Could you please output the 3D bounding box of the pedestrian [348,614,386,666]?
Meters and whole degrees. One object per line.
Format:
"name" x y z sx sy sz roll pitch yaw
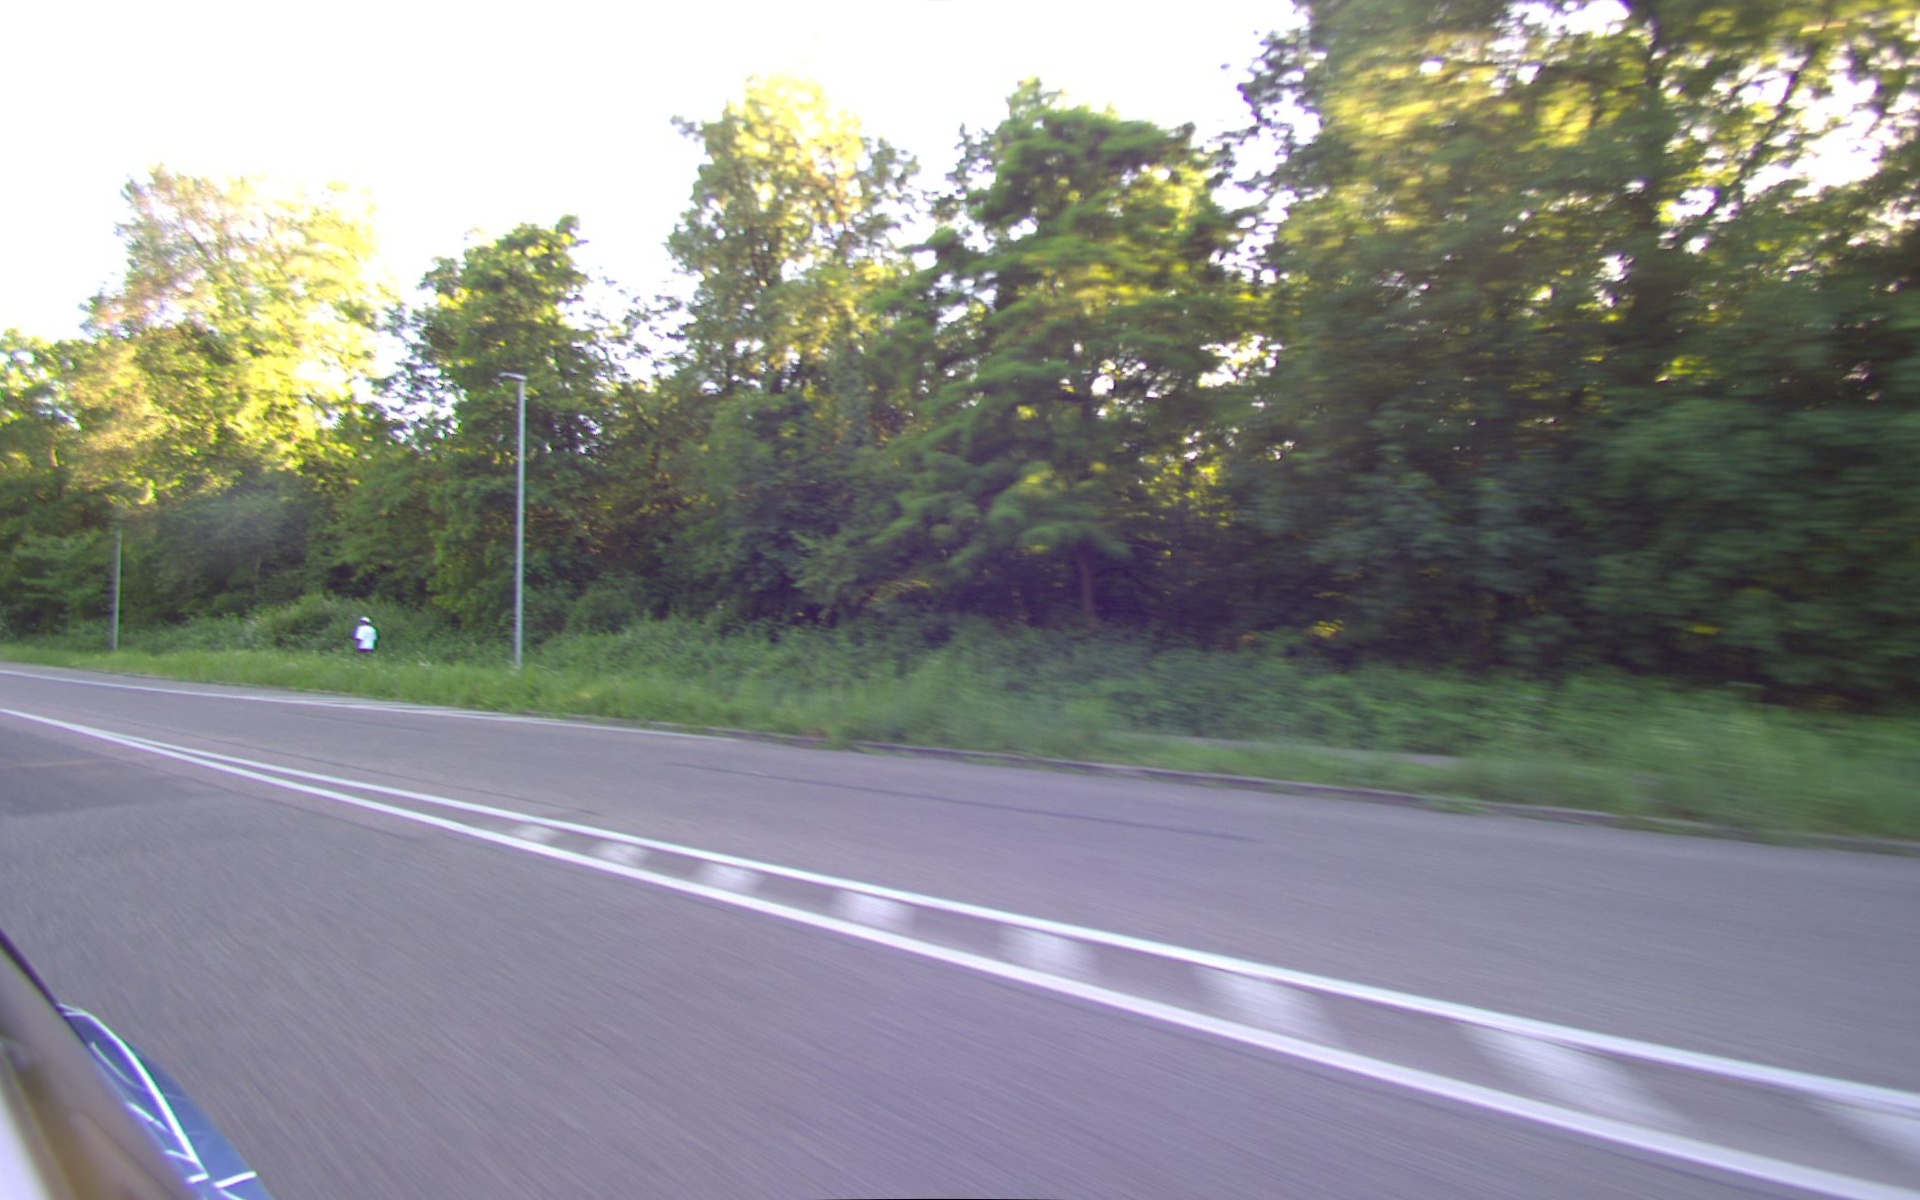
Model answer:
"pedestrian" -18.105 1.222 30.890 0.825 1.577 0.704 -1 -3 39
